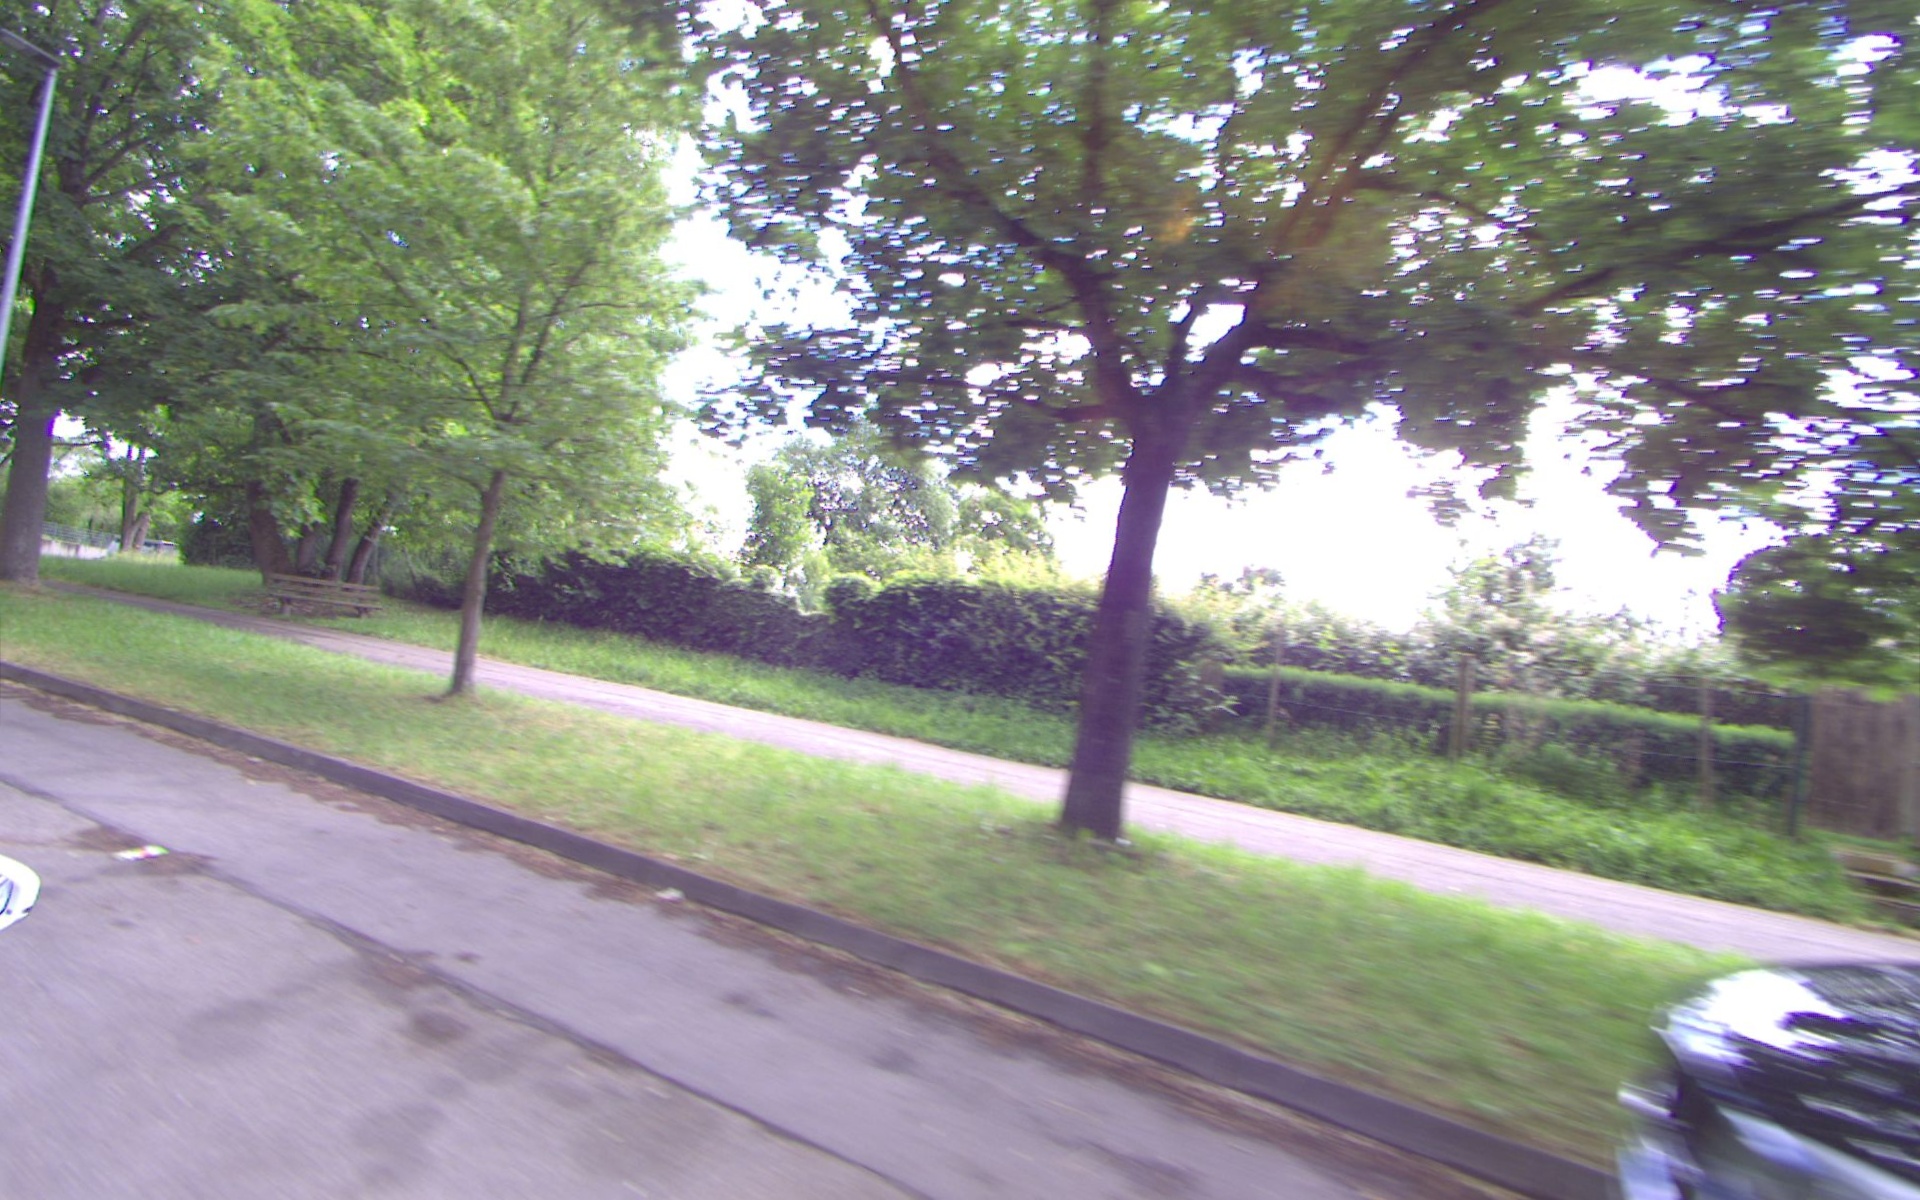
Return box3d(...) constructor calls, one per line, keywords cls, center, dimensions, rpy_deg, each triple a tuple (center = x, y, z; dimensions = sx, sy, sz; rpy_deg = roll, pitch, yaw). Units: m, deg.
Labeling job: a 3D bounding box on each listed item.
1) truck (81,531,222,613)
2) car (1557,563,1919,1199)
box3d(cls="truck", center=(-50.814, -1.573, 63.660), dimensions=(2.654, 4.039, 9.565), rpy_deg=(7, -4, -13))
box3d(cls="car", center=(3.257, 1.069, 0.973), dimensions=(4.455, 1.662, 1.852), rpy_deg=(6, -2, 31))
